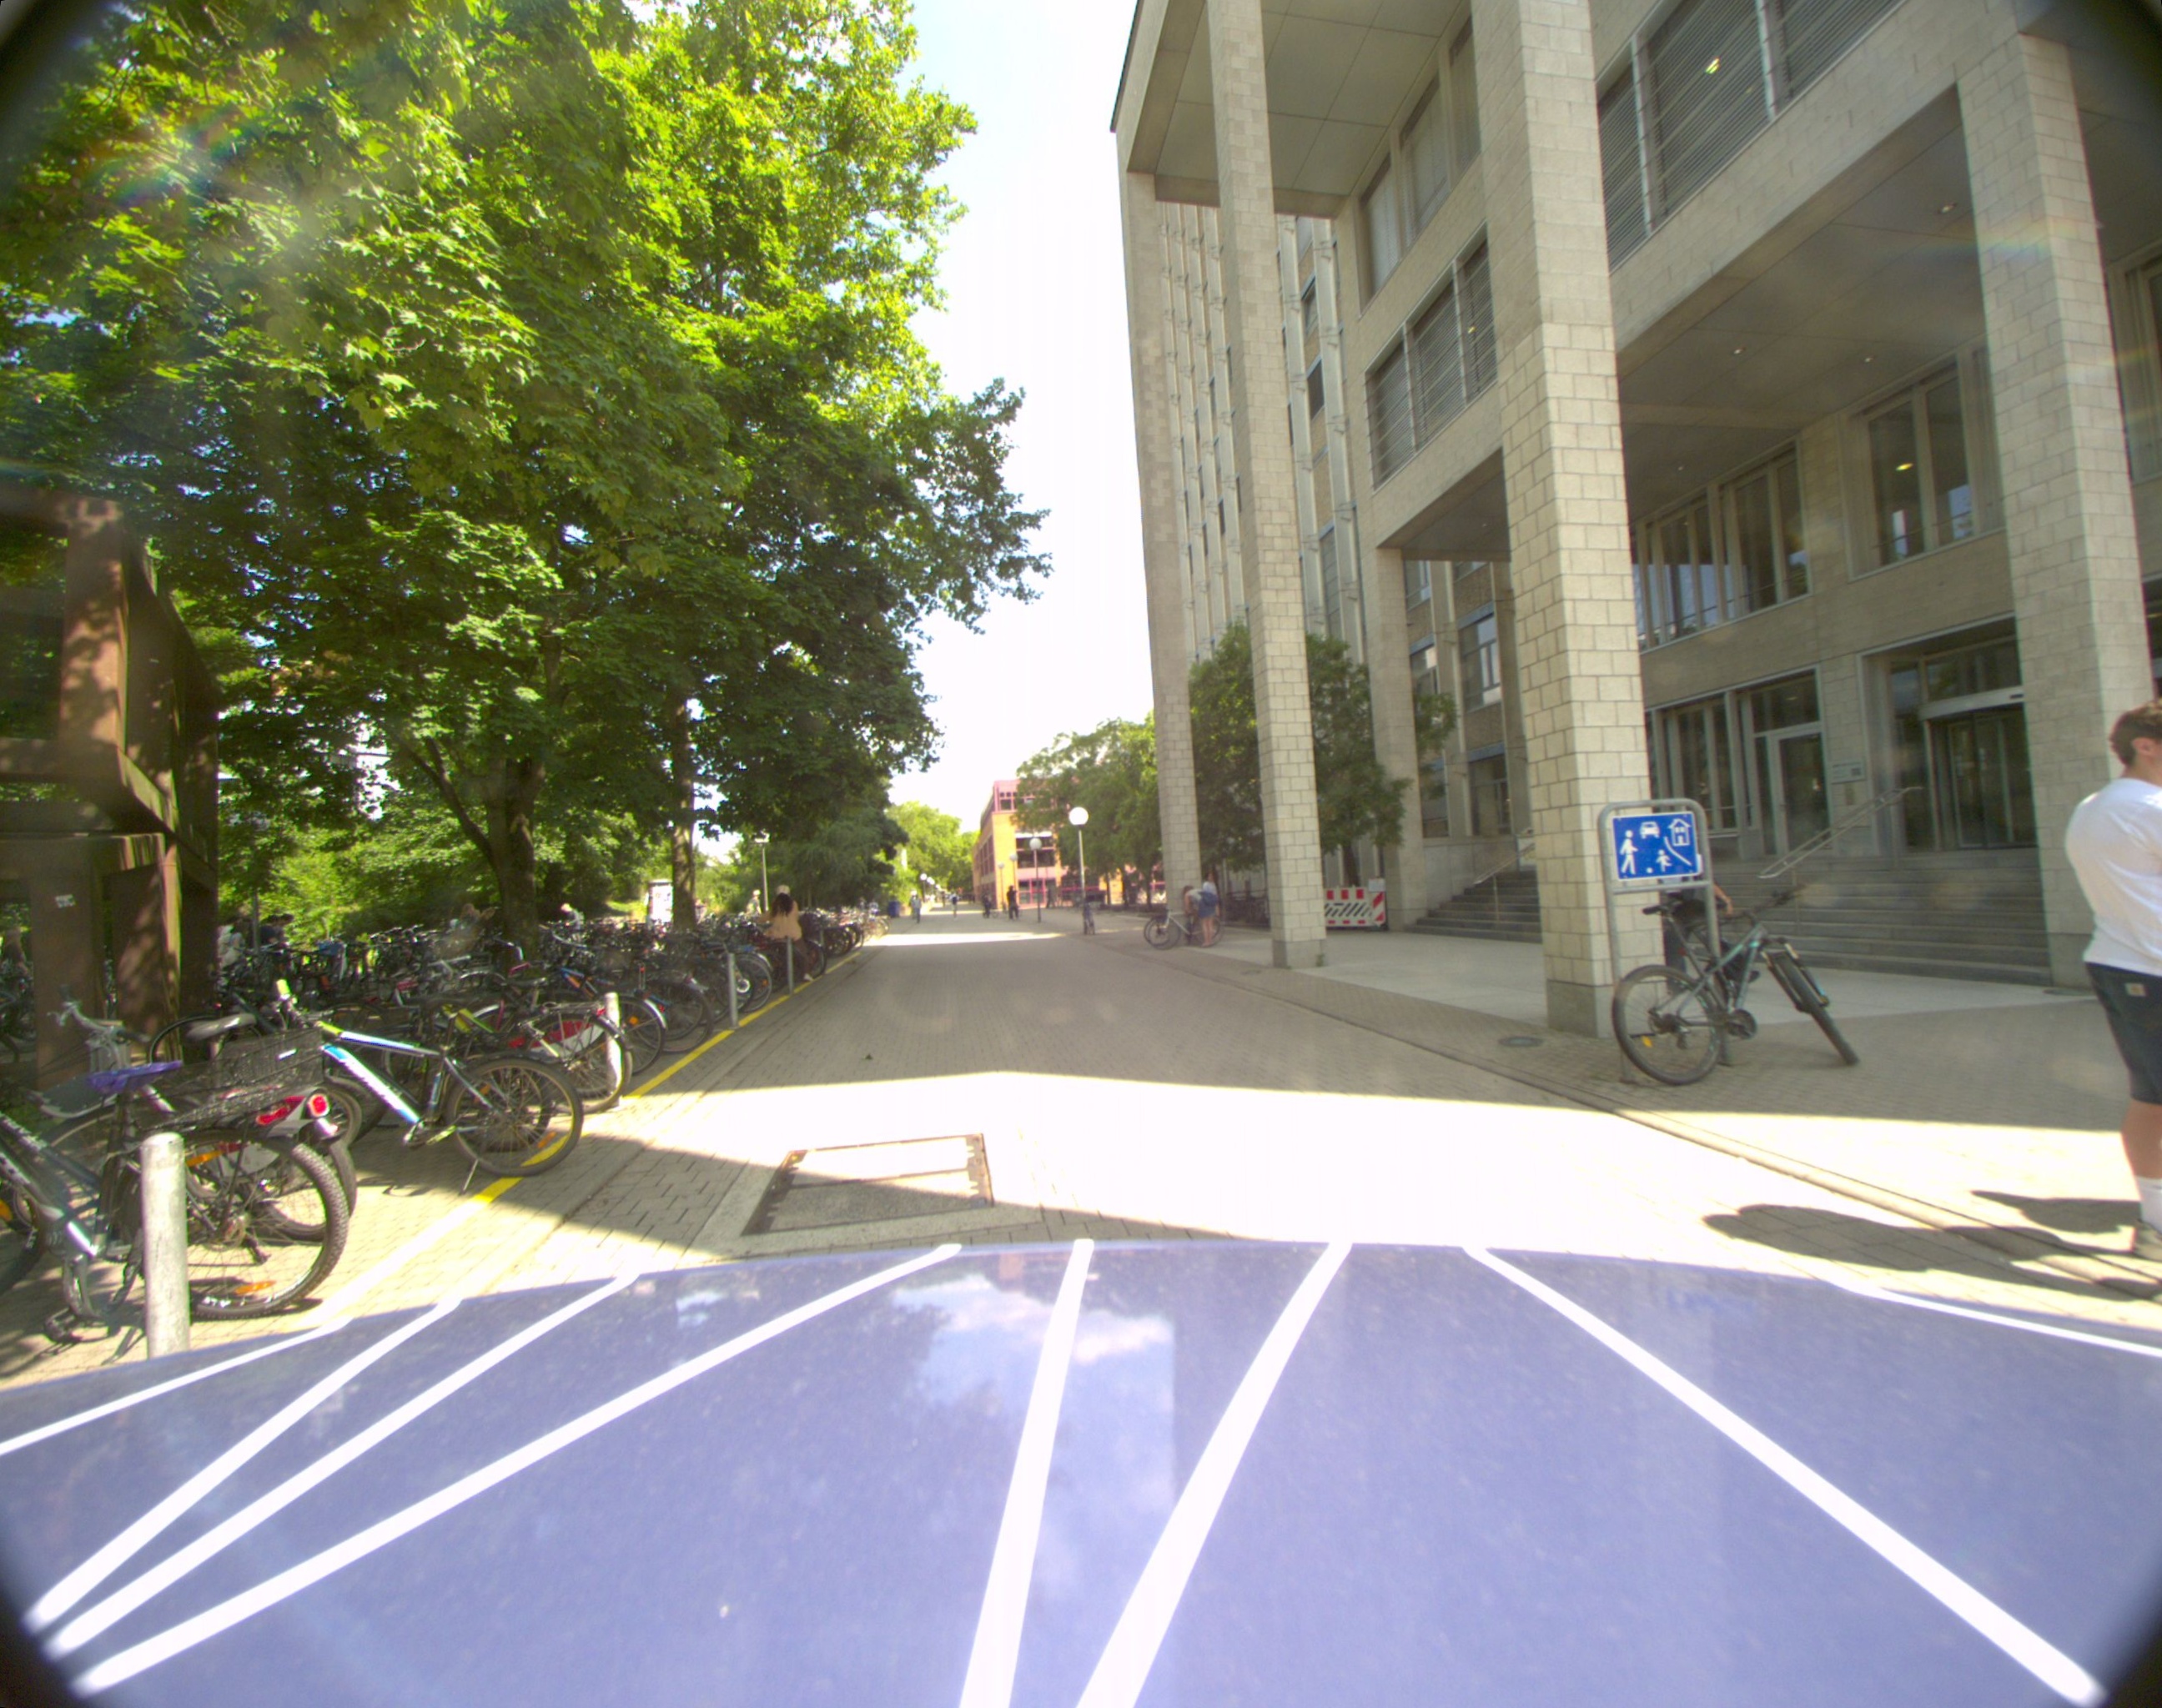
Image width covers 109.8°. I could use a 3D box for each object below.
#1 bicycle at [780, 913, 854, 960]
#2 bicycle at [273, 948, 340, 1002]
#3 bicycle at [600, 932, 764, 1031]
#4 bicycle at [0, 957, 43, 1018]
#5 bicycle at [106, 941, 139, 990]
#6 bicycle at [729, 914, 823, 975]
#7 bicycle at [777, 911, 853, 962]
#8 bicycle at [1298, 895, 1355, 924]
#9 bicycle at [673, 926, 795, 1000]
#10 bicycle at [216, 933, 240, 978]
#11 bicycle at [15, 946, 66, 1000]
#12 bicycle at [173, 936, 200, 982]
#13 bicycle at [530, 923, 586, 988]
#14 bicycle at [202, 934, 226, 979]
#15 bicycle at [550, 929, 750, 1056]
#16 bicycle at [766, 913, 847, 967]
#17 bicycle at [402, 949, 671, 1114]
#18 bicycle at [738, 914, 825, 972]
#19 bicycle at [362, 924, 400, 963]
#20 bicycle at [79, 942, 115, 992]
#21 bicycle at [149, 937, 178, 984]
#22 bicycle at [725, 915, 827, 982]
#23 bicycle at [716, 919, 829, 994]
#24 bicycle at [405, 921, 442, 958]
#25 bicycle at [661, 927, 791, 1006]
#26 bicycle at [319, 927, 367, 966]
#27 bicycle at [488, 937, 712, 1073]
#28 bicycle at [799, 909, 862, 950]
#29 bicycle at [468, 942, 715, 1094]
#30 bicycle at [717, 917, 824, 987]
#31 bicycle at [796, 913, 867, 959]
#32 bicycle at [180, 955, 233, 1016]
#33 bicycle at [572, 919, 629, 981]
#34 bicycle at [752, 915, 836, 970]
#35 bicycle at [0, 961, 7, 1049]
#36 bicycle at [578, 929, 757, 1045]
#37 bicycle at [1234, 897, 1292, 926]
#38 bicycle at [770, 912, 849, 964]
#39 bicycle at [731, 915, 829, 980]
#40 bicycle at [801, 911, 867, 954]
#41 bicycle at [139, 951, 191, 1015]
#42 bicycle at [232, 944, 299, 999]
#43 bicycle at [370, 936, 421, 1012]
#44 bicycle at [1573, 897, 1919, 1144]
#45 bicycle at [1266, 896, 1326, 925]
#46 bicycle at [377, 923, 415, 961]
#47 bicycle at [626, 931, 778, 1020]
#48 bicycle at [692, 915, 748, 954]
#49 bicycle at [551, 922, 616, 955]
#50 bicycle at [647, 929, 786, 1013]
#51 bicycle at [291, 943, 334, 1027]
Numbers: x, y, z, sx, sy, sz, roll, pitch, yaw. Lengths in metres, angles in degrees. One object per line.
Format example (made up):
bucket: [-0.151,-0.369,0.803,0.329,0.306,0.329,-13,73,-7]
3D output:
bicycle: [-6.632,2.066,19.141,1.689,1.076,0.478,-2,-4,-14]
bicycle: [-15.606,2.415,15.300,1.899,0.973,0.479,-4,0,31]
bicycle: [-4.857,1.538,9.354,1.697,1.040,0.568,-2,-4,-18]
bicycle: [-19.740,2.442,13.916,0.379,0.973,1.899,-3,-1,-40]
bicycle: [-23.548,2.711,18.674,1.607,1.087,0.349,-4,0,43]
bicycle: [-6.117,1.808,15.316,1.689,1.122,0.454,-2,-4,-15]
bicycle: [-6.516,2.015,18.667,1.689,1.122,0.478,-2,-4,-15]
bicycle: [7.137,1.597,22.199,0.644,0.755,1.988,-2,-1,-12]
bicycle: [-5.502,1.720,12.126,1.689,1.040,0.501,-2,-4,-15]
bicycle: [-22.565,2.663,20.112,1.607,1.087,0.349,-4,0,43]
bicycle: [-24.256,2.750,17.732,1.607,1.087,0.479,-4,0,43]
bicycle: [-23.149,2.691,19.671,1.607,1.087,0.349,-4,0,43]
bicycle: [-10.112,1.921,14.664,1.840,1.163,0.414,-4,-2,41]
bicycle: [-22.719,2.671,19.923,1.607,1.087,0.337,-4,0,43]
bicycle: [-4.512,1.432,8.054,1.696,1.144,0.627,-2,0,-8]
bicycle: [-6.301,1.964,17.484,1.689,1.122,0.478,-2,-4,-15]
bicycle: [-4.255,1.375,6.014,1.696,1.118,0.482,-2,0,-5]
bicycle: [-6.441,1.912,16.388,1.689,1.122,0.454,-2,-4,-15]
bicycle: [-20.746,2.646,22.515,1.607,1.087,0.349,-4,0,31]
bicycle: [-23.825,2.725,18.404,1.607,1.087,0.349,-4,0,43]
bicycle: [-23.427,2.696,19.418,1.607,1.087,0.349,-4,0,43]
bicycle: [-5.685,1.753,14.224,1.689,1.122,0.454,-2,-4,-15]
bicycle: [-5.169,1.704,12.798,1.689,1.122,0.454,-2,-4,-15]
bicycle: [-20.161,2.613,23.292,1.607,1.087,0.349,-4,0,31]
bicycle: [-5.364,1.688,11.562,1.689,1.040,0.617,-2,-4,-15]
bicycle: [-21.306,2.676,21.931,1.608,1.087,0.348,-4,0,23]
bicycle: [-4.578,1.418,7.321,1.696,1.118,0.627,-2,0,-5]
bicycle: [-7.221,2.187,21.966,1.689,1.076,0.478,-2,-4,-15]
bicycle: [-4.156,1.375,6.542,1.696,1.118,0.566,-2,0,-5]
bicycle: [-5.525,1.732,13.594,1.689,1.122,0.454,-2,-4,-15]
bicycle: [-6.472,2.109,19.749,1.689,1.076,0.478,-2,-4,-15]
bicycle: [-16.562,2.462,14.381,1.899,0.973,0.479,-4,0,37]
bicycle: [-9.643,1.894,15.212,1.840,1.163,0.414,-4,-2,41]
bicycle: [-6.370,1.955,16.925,1.689,1.122,0.454,-2,-4,-15]
bicycle: [-14.525,2.038,9.896,1.840,1.163,0.414,-4,-2,41]
bicycle: [-4.678,1.479,8.715,1.697,1.143,0.627,-2,-4,-18]
bicycle: [5.350,1.673,22.464,0.644,0.755,1.987,-2,-1,-20]
bicycle: [-6.429,1.982,18.056,1.689,1.122,0.478,-2,-4,-15]
bicycle: [-5.833,1.805,14.789,1.689,1.122,0.454,-2,-4,-15]
bicycle: [-6.876,2.168,21.170,1.690,1.076,0.478,-1,-4,-23]
bicycle: [-16.737,2.330,13.910,1.899,0.973,0.479,-4,-1,42]
bicycle: [-16.048,2.286,14.936,1.899,0.973,0.479,-4,0,31]
bicycle: [-11.764,2.013,13.023,1.840,1.163,0.414,-4,-2,41]
bicycle: [4.108,0.961,4.717,1.830,1.234,0.531,-4,-1,-11]
bicycle: [6.252,1.631,22.232,0.644,0.755,1.987,-2,-1,-20]
bicycle: [-20.567,2.635,22.814,1.607,1.087,0.349,-4,0,31]
bicycle: [-5.029,1.604,10.146,1.695,1.040,0.618,-3,-4,-2]
bicycle: [-10.791,2.395,22.697,1.685,1.076,0.480,-5,-4,21]
bicycle: [-17.242,2.907,26.358,0.585,0.926,1.756,-1,1,37]
bicycle: [-5.165,1.639,10.870,1.689,1.040,0.617,-2,-4,-15]
bicycle: [-12.343,2.065,12.215,1.840,1.163,0.437,-5,-2,45]
